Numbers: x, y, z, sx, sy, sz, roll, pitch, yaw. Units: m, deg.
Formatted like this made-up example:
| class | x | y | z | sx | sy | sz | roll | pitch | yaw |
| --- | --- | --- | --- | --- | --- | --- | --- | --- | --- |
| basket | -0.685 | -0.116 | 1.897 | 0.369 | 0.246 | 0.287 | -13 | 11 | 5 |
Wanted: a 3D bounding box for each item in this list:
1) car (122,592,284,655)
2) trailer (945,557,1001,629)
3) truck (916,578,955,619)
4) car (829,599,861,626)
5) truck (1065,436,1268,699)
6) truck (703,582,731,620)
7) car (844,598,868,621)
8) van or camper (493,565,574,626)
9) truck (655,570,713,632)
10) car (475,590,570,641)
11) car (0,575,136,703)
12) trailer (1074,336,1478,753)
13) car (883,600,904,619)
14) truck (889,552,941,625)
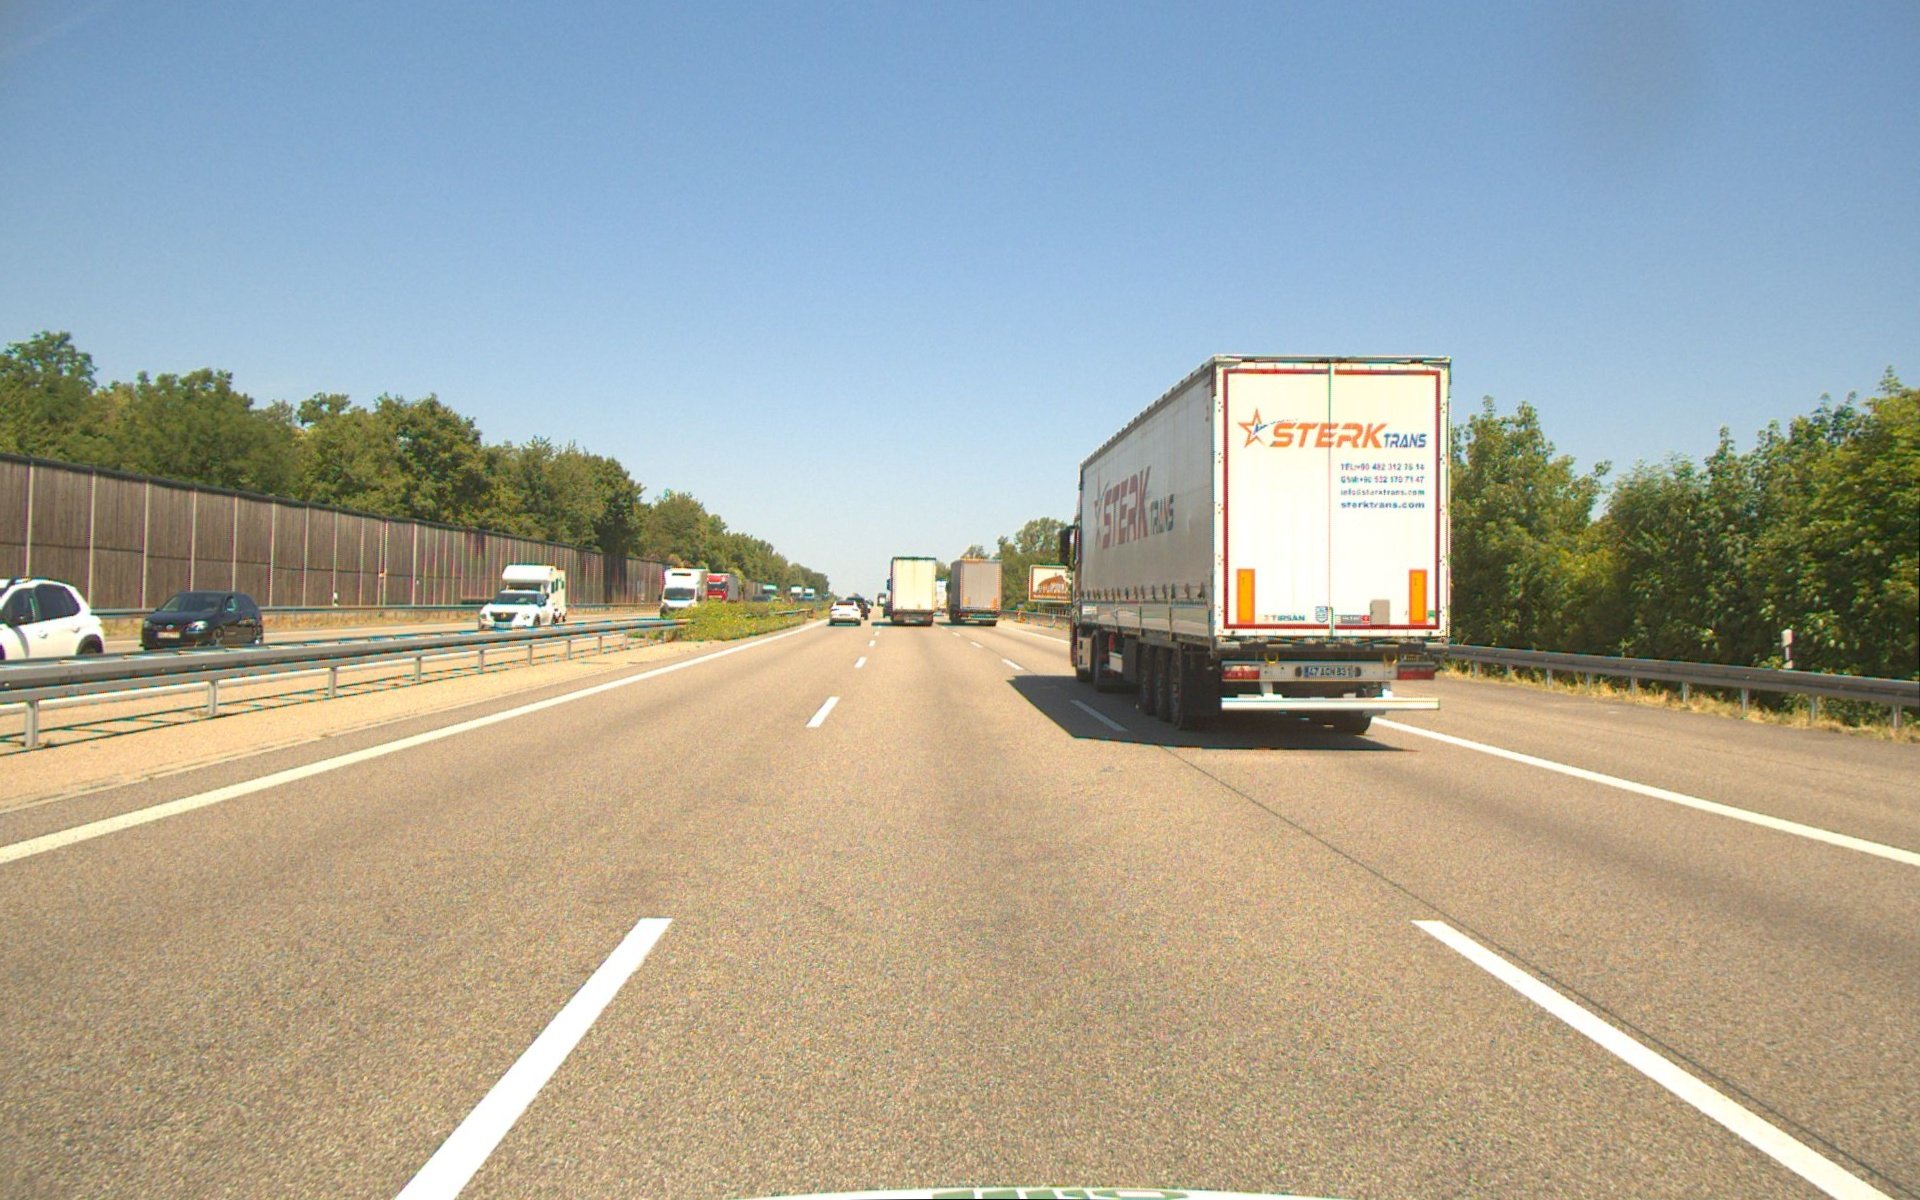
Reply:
| class | x | y | z | sx | sy | sz | roll | pitch | yaw |
| --- | --- | --- | --- | --- | --- | --- | --- | --- | --- |
| car | -18.013 | 0.535 | 39.605 | 1.880 | 1.399 | 4.580 | 1 | 0 | -2 |
| trailer | 0.740 | -0.415 | 107.367 | 2.650 | 4.289 | 13.202 | 2 | 0 | -4 |
| truck | -2.857 | -0.192 | 190.384 | 3.309 | 4.378 | 11.436 | 4 | 0 | -6 |
| car | -6.709 | 0.728 | 96.769 | 1.818 | 1.512 | 3.997 | 1 | 0 | -4 |
| truck | 3.529 | -0.515 | 29.984 | 2.652 | 4.160 | 6.963 | 1 | 0 | -1 |
| truck | -27.570 | 0.123 | 187.671 | 2.436 | 4.159 | 4.677 | 0 | 0 | 0 |
| car | -7.852 | 0.717 | 125.094 | 1.818 | 1.645 | 3.997 | 1 | 0 | -3 |
| van or camper | -22.067 | -0.220 | 85.975 | 2.507 | 2.964 | 7.371 | 3 | 0 | -3 |
| truck | -15.627 | 0.060 | 94.051 | 2.361 | 3.411 | 6.916 | 1 | 0 | -2 |
| car | -14.041 | 0.481 | 53.275 | 1.880 | 1.573 | 4.581 | 1 | 0 | -1 |
| car | -12.665 | 0.463 | 21.551 | 1.768 | 1.571 | 4.244 | 1 | 0 | -1 |
| trailer | 3.686 | -0.537 | 23.770 | 2.652 | 4.160 | 14.146 | 1 | 0 | -2 |
| car | -5.867 | 0.838 | 145.655 | 1.818 | 1.645 | 3.998 | 1 | 0 | -3 |
| truck | -2.921 | -0.656 | 103.105 | 2.653 | 4.157 | 13.463 | 2 | 0 | -4 |
